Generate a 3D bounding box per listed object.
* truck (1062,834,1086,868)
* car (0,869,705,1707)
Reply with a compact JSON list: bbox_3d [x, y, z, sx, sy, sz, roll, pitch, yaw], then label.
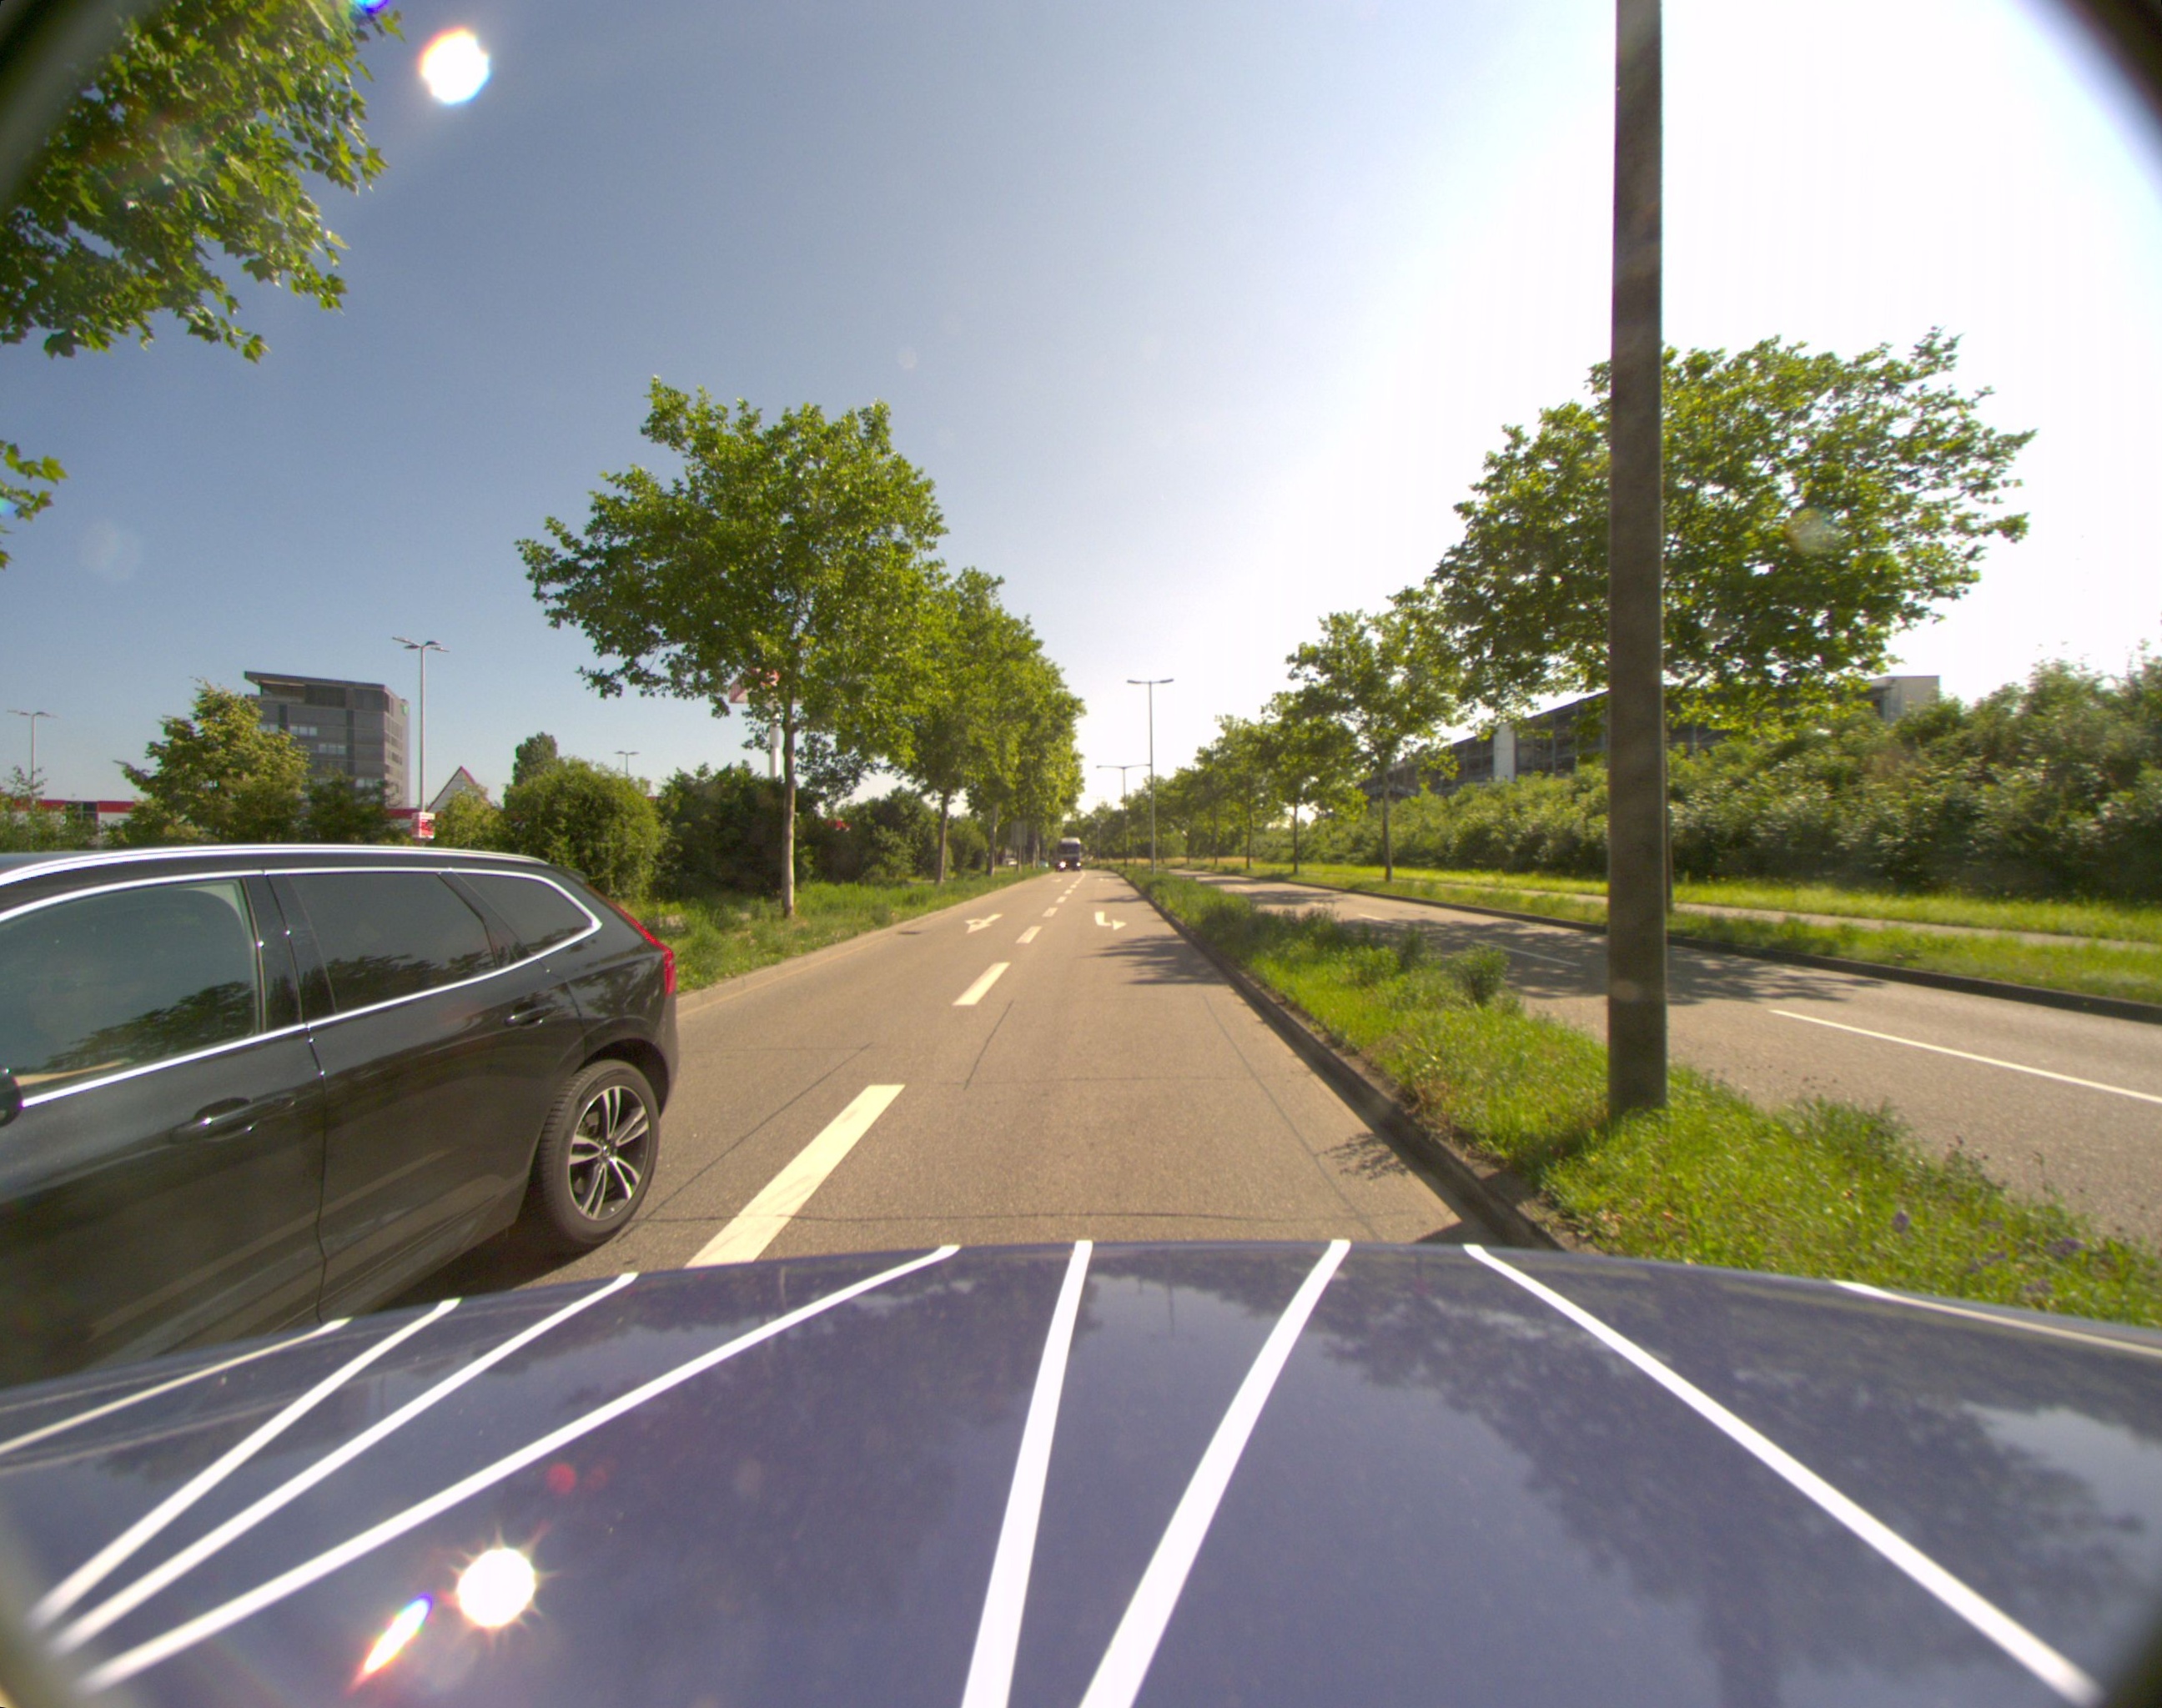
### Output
[{"bbox_3d":[-0.783,-0.348,91.343,2.741,3.872,5.851,-2,1,0],"label":"truck"},{"bbox_3d":[-2.904,0.924,1.552,1.924,1.613,4.564,-2,1,0],"label":"car"}]
